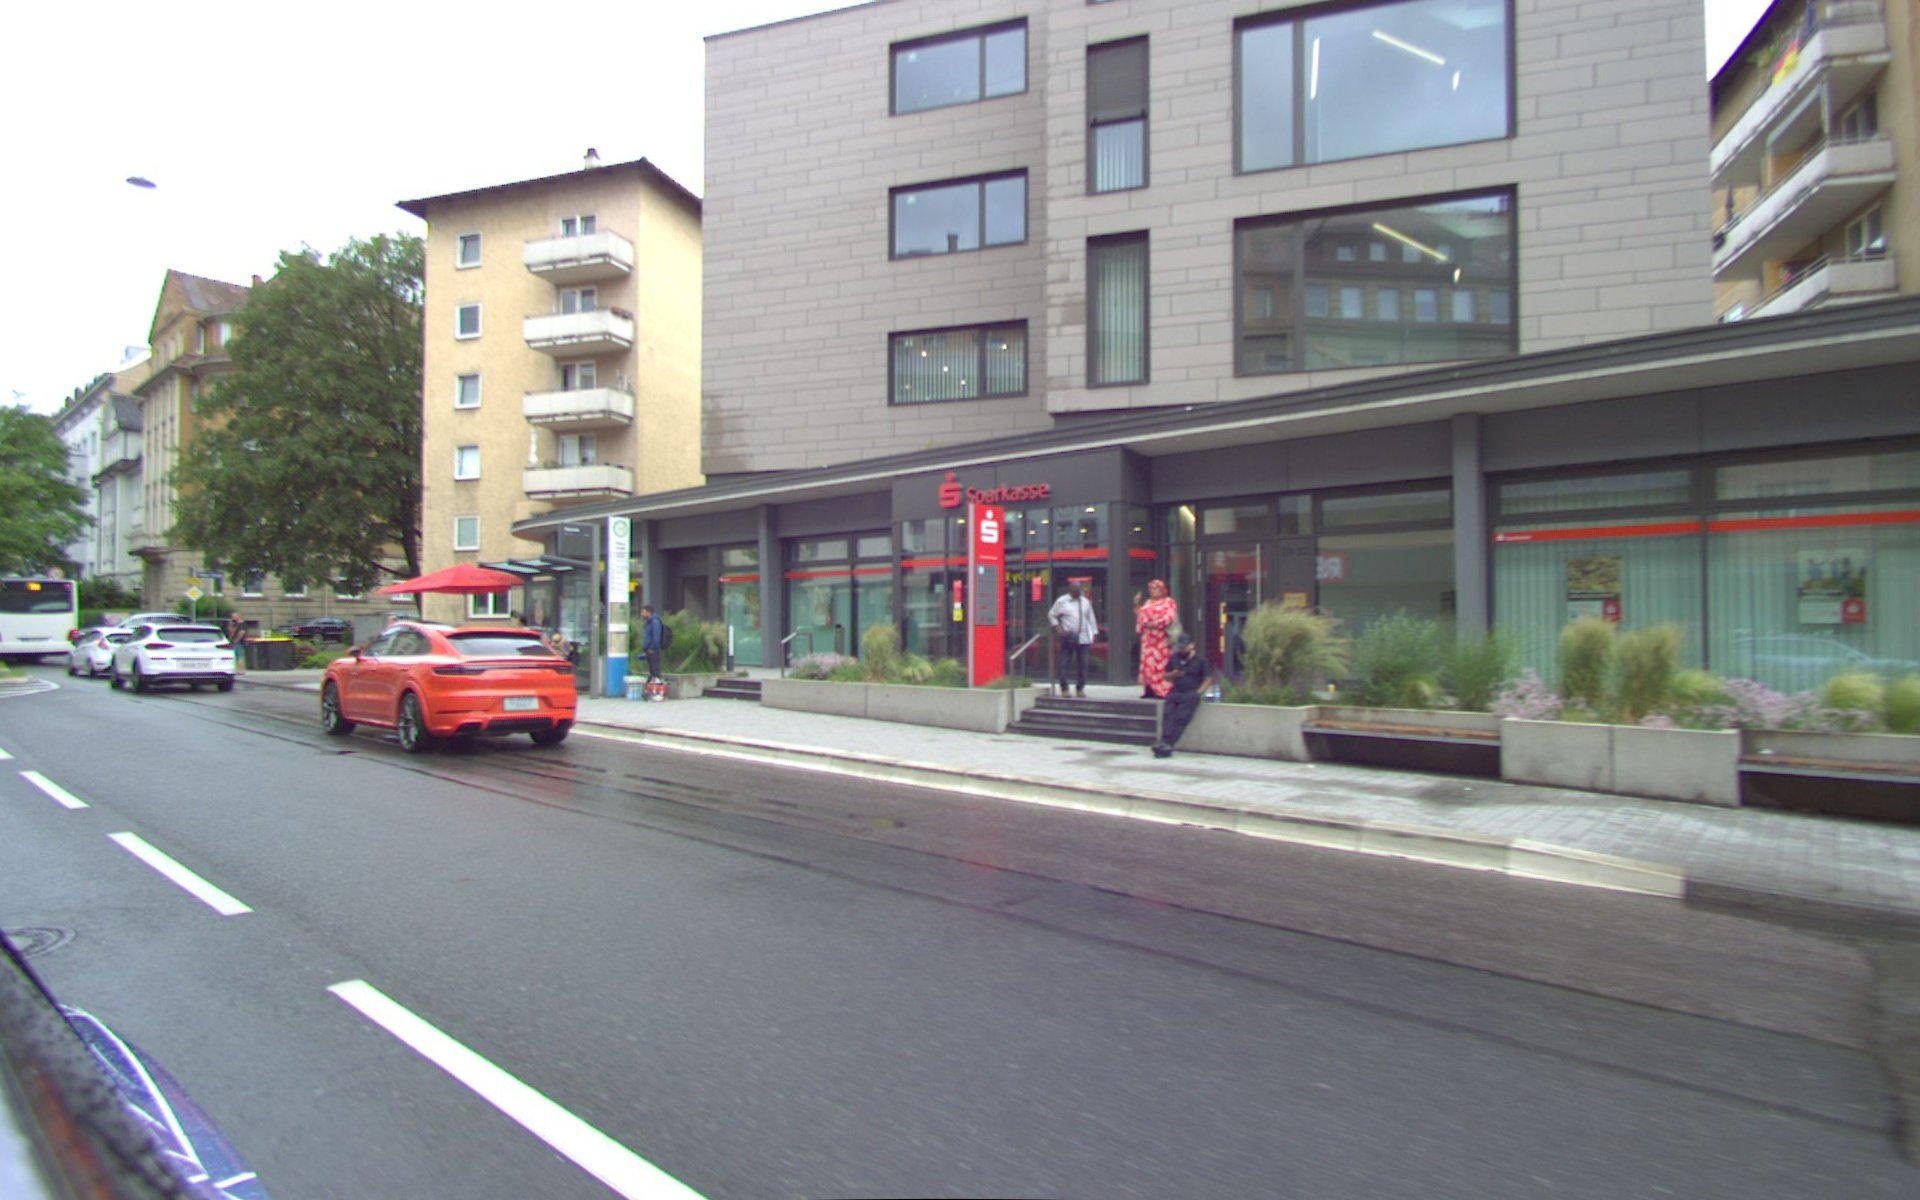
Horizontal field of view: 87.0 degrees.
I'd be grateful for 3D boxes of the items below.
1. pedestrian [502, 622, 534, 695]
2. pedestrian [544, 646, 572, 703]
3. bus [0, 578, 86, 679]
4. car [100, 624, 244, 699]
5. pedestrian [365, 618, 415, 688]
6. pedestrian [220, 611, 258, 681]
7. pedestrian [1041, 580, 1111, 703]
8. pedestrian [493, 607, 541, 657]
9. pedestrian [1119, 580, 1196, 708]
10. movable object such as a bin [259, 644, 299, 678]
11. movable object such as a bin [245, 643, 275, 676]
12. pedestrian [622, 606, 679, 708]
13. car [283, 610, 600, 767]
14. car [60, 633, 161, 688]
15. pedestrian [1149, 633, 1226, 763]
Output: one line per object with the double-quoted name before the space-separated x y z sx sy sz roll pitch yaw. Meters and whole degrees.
"pedestrian" -9.515 1.247 21.784 0.533 1.561 0.433 -1 -2 40
"pedestrian" -8.049 1.485 20.279 0.386 1.125 0.387 -1 -2 40
"bus" -36.680 0.933 37.401 11.917 3.271 2.785 1 -5 31
"car" -18.864 1.432 24.168 4.122 1.585 1.875 0 -3 41
"pedestrian" -14.555 1.345 25.847 0.756 1.721 0.788 -2 0 16
"pedestrian" -21.404 1.344 30.040 0.781 2.029 0.695 0 -1 37
"pedestrian" 1.649 0.575 14.409 0.713 1.691 0.706 -2 -2 40
"pedestrian" -15.061 1.075 34.417 0.933 1.624 1.146 -2 0 16
"pedestrian" 2.696 0.585 13.869 0.701 1.691 0.803 0 -1 -21
"movable object such as a bin" -22.512 2.007 33.464 0.805 1.066 0.739 0 -1 16
"movable object such as a bin" -23.308 1.983 33.712 0.579 1.066 0.732 -1 -1 44
"pedestrian" -5.734 1.036 18.747 0.868 1.833 0.584 -1 -2 32
"car" -7.280 1.067 13.961 5.057 1.778 2.084 0 -3 41
"car" -24.829 1.744 29.533 3.804 1.475 1.599 -1 -4 41
"pedestrian" 2.618 1.097 11.678 0.582 1.431 0.727 0 -1 -15
